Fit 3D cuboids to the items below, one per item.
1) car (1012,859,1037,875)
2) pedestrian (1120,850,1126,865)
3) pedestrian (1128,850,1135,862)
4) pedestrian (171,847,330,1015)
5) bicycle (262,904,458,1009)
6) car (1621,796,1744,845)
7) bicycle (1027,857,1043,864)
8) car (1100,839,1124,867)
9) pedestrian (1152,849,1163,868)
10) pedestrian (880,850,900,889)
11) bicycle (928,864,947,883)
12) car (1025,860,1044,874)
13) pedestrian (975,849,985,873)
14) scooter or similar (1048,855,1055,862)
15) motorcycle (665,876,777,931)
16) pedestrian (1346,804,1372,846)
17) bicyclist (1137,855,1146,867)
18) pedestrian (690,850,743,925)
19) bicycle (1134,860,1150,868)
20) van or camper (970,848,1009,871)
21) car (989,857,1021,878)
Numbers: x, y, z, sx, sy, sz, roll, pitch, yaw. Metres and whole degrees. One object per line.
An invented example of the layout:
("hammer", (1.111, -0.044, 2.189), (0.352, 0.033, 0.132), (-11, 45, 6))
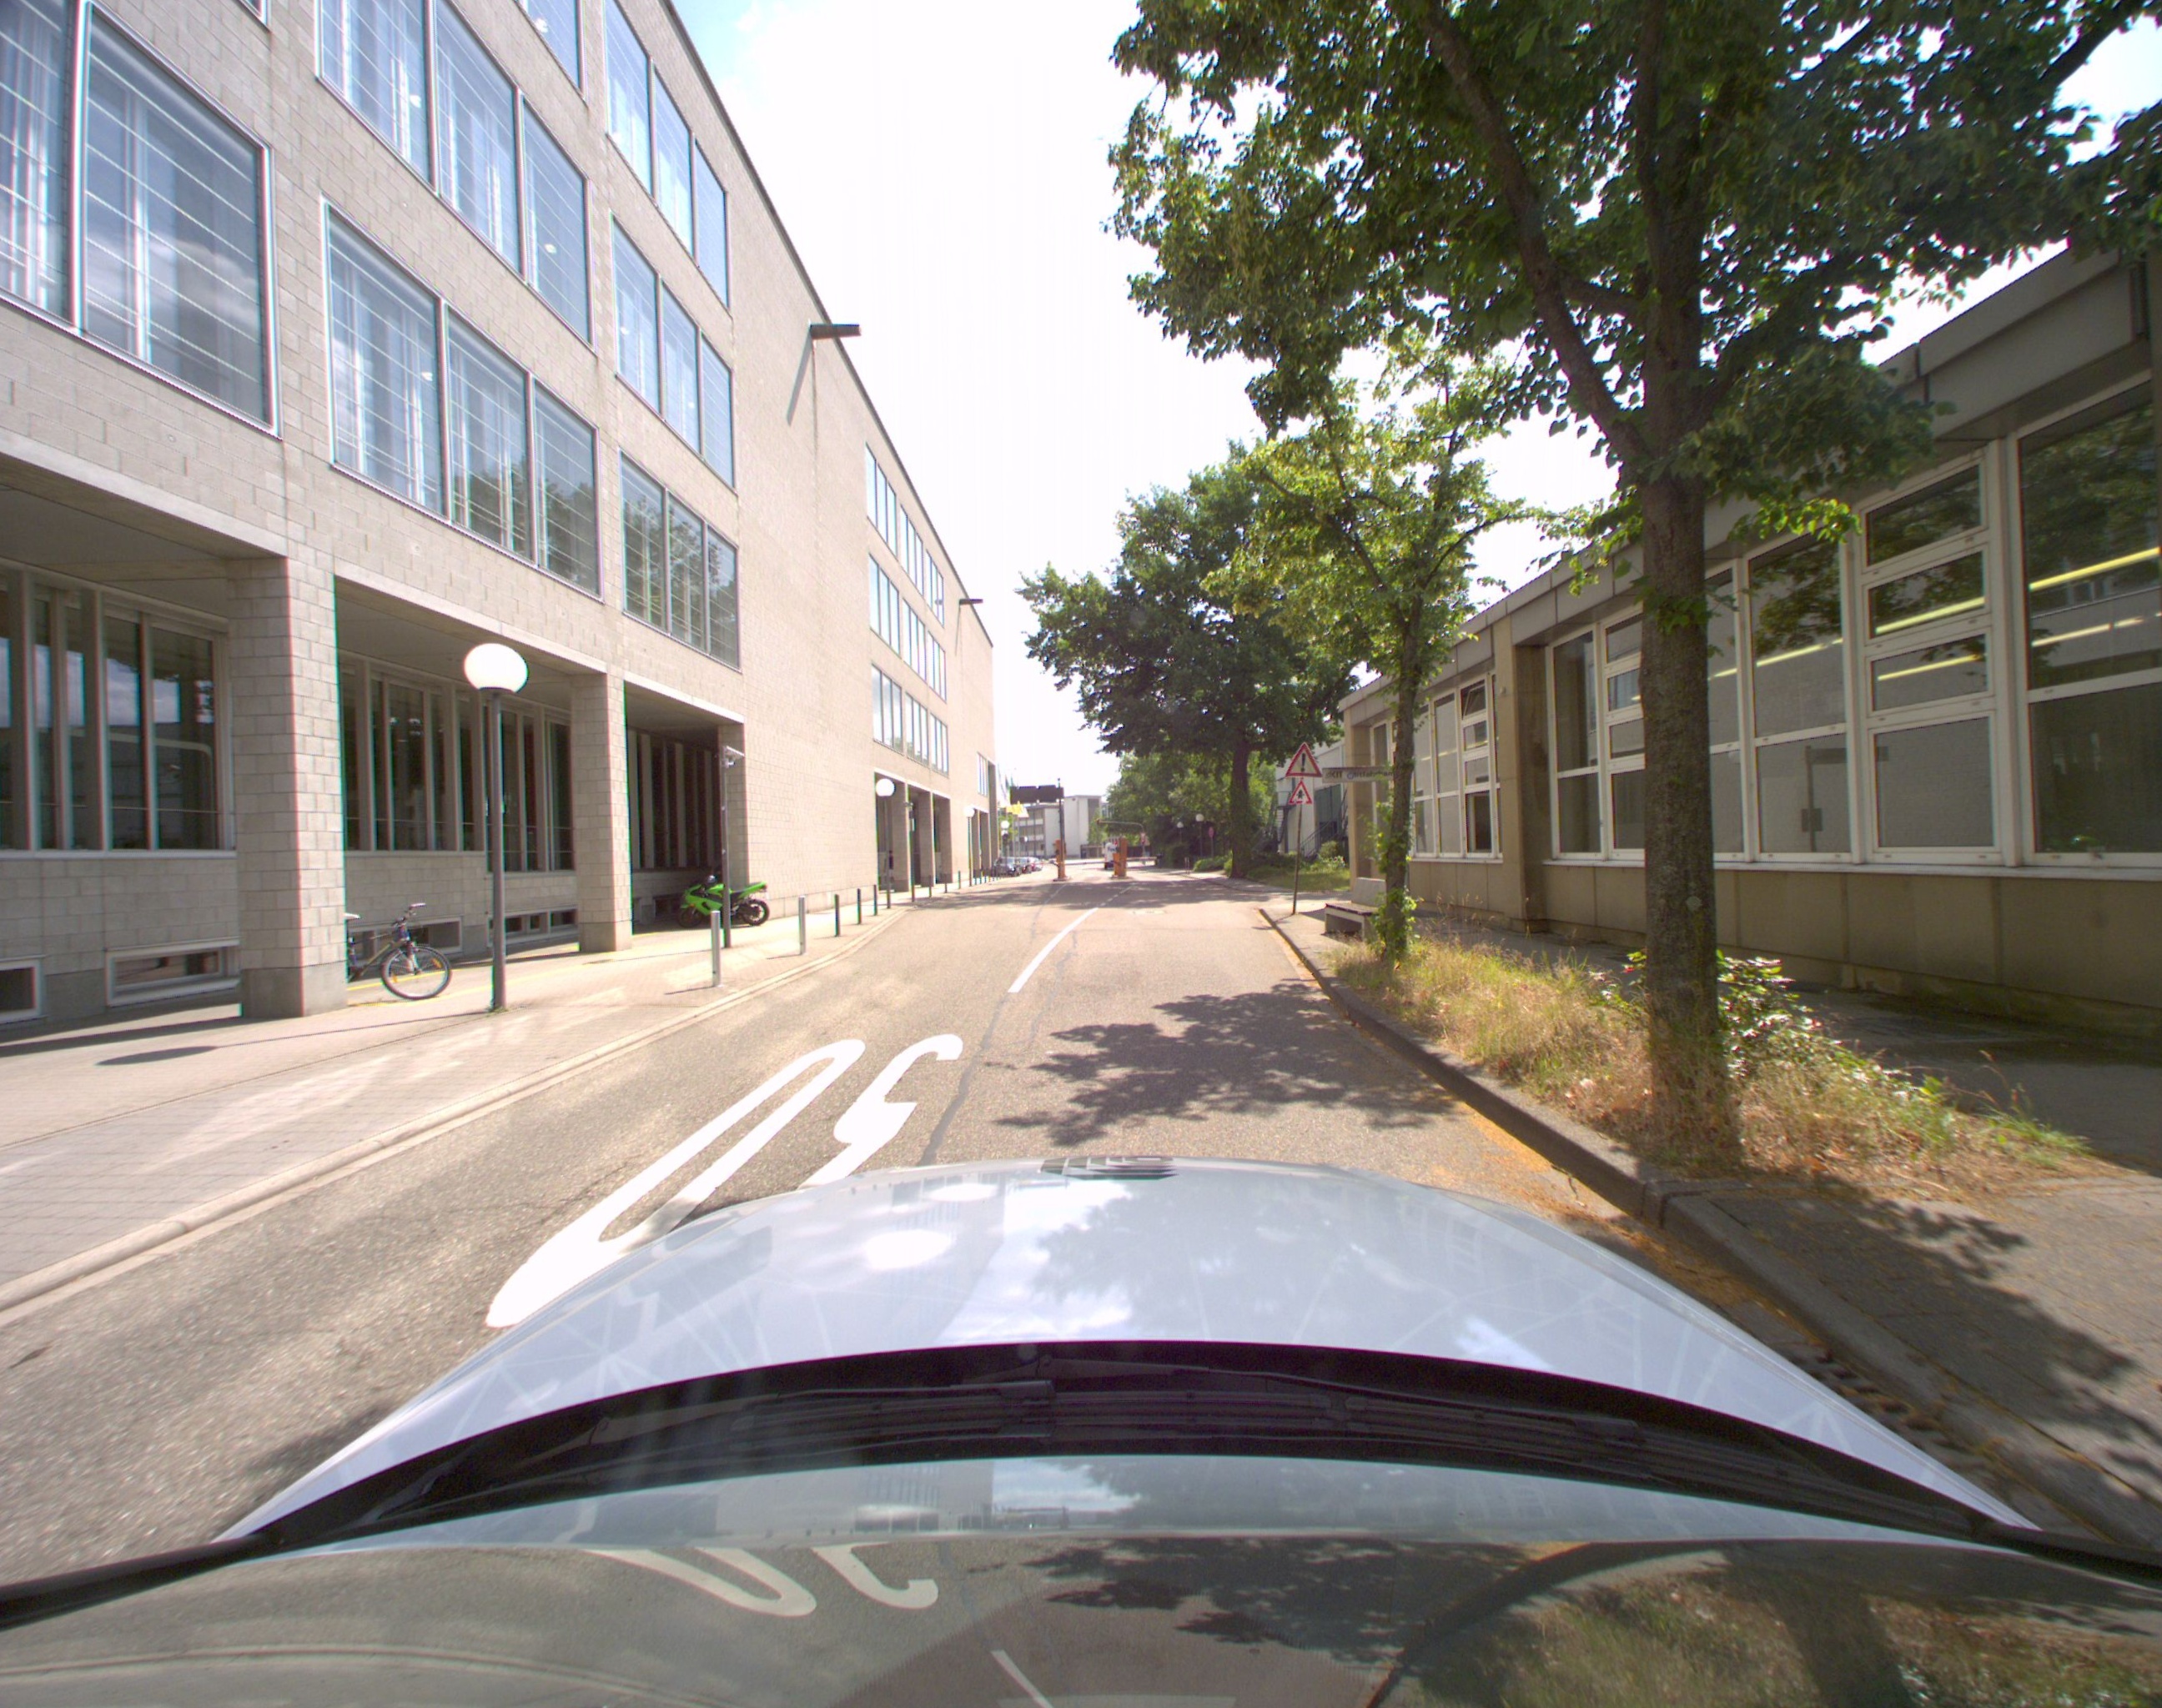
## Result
("car", (-4.936, 1.117, 71.890), (1.853, 1.378, 5.016), (0, 0, 0))
("pedestrian", (5.154, 0.463, 100.152), (0.764, 1.859, 0.722), (-2, 0, 2))
("pedestrian", (8.120, 0.276, 131.397), (1.077, 1.870, 0.832), (-2, 0, -1))
("pedestrian", (-9.685, 0.855, 9.549), (0.774, 1.838, 1.014), (-2, 0, 0))
("bicycle", (-8.287, 1.157, 9.407), (1.636, 1.086, 0.607), (-1, 0, -5))
("car", (21.634, -1.157, 29.475), (1.622, 1.552, 3.620), (-2, 0, -3))
("bicycle", (-9.336, 1.248, 165.656), (2.979, 1.363, 1.104), (-1, -1, -37))
("car", (2.961, -0.113, 78.882), (2.088, 2.566, 5.602), (-2, 0, 0))
("pedestrian", (6.840, 0.406, 72.782), (0.737, 1.674, 1.255), (-2, 0, -2))
("pedestrian", (-9.444, 0.760, 40.296), (0.728, 1.880, 0.720), (-1, 0, 1))
("bicycle", (-8.611, 1.176, 48.952), (0.829, 1.069, 2.468), (-1, 0, -3))
("car", (-5.002, 1.386, 87.981), (1.670, 1.395, 4.664), (0, 0, 2))
("pedestrian", (-10.017, 0.683, 80.683), (0.753, 2.422, 0.739), (-2, 0, 6))
("scooter or similar", (-4.848, 0.719, 133.324), (0.716, 1.178, 2.716), (-2, 0, -10))
("motorcycle", (-8.171, 1.104, 18.572), (2.165, 1.138, 0.772), (-2, 0, -10))
("pedestrian", (13.706, -1.401, 40.211), (0.923, 2.013, 0.951), (-2, 0, 4))
("bicyclist", (7.732, 0.872, 103.931), (0.898, 1.495, 0.656), (-1, -1, -39))
("pedestrian", (-9.220, 0.817, 20.618), (0.799, 1.804, 0.924), (-4, 0, 1))
("bicycle", (7.799, 1.291, 103.978), (2.118, 0.995, 0.671), (-1, -1, -39))
("van or camper", (-14.206, 0.880, 126.142), (5.696, 3.259, 2.354), (-2, -1, -2))
("car", (-5.520, 0.992, 59.881), (1.853, 1.467, 4.719), (0, 0, 1))
